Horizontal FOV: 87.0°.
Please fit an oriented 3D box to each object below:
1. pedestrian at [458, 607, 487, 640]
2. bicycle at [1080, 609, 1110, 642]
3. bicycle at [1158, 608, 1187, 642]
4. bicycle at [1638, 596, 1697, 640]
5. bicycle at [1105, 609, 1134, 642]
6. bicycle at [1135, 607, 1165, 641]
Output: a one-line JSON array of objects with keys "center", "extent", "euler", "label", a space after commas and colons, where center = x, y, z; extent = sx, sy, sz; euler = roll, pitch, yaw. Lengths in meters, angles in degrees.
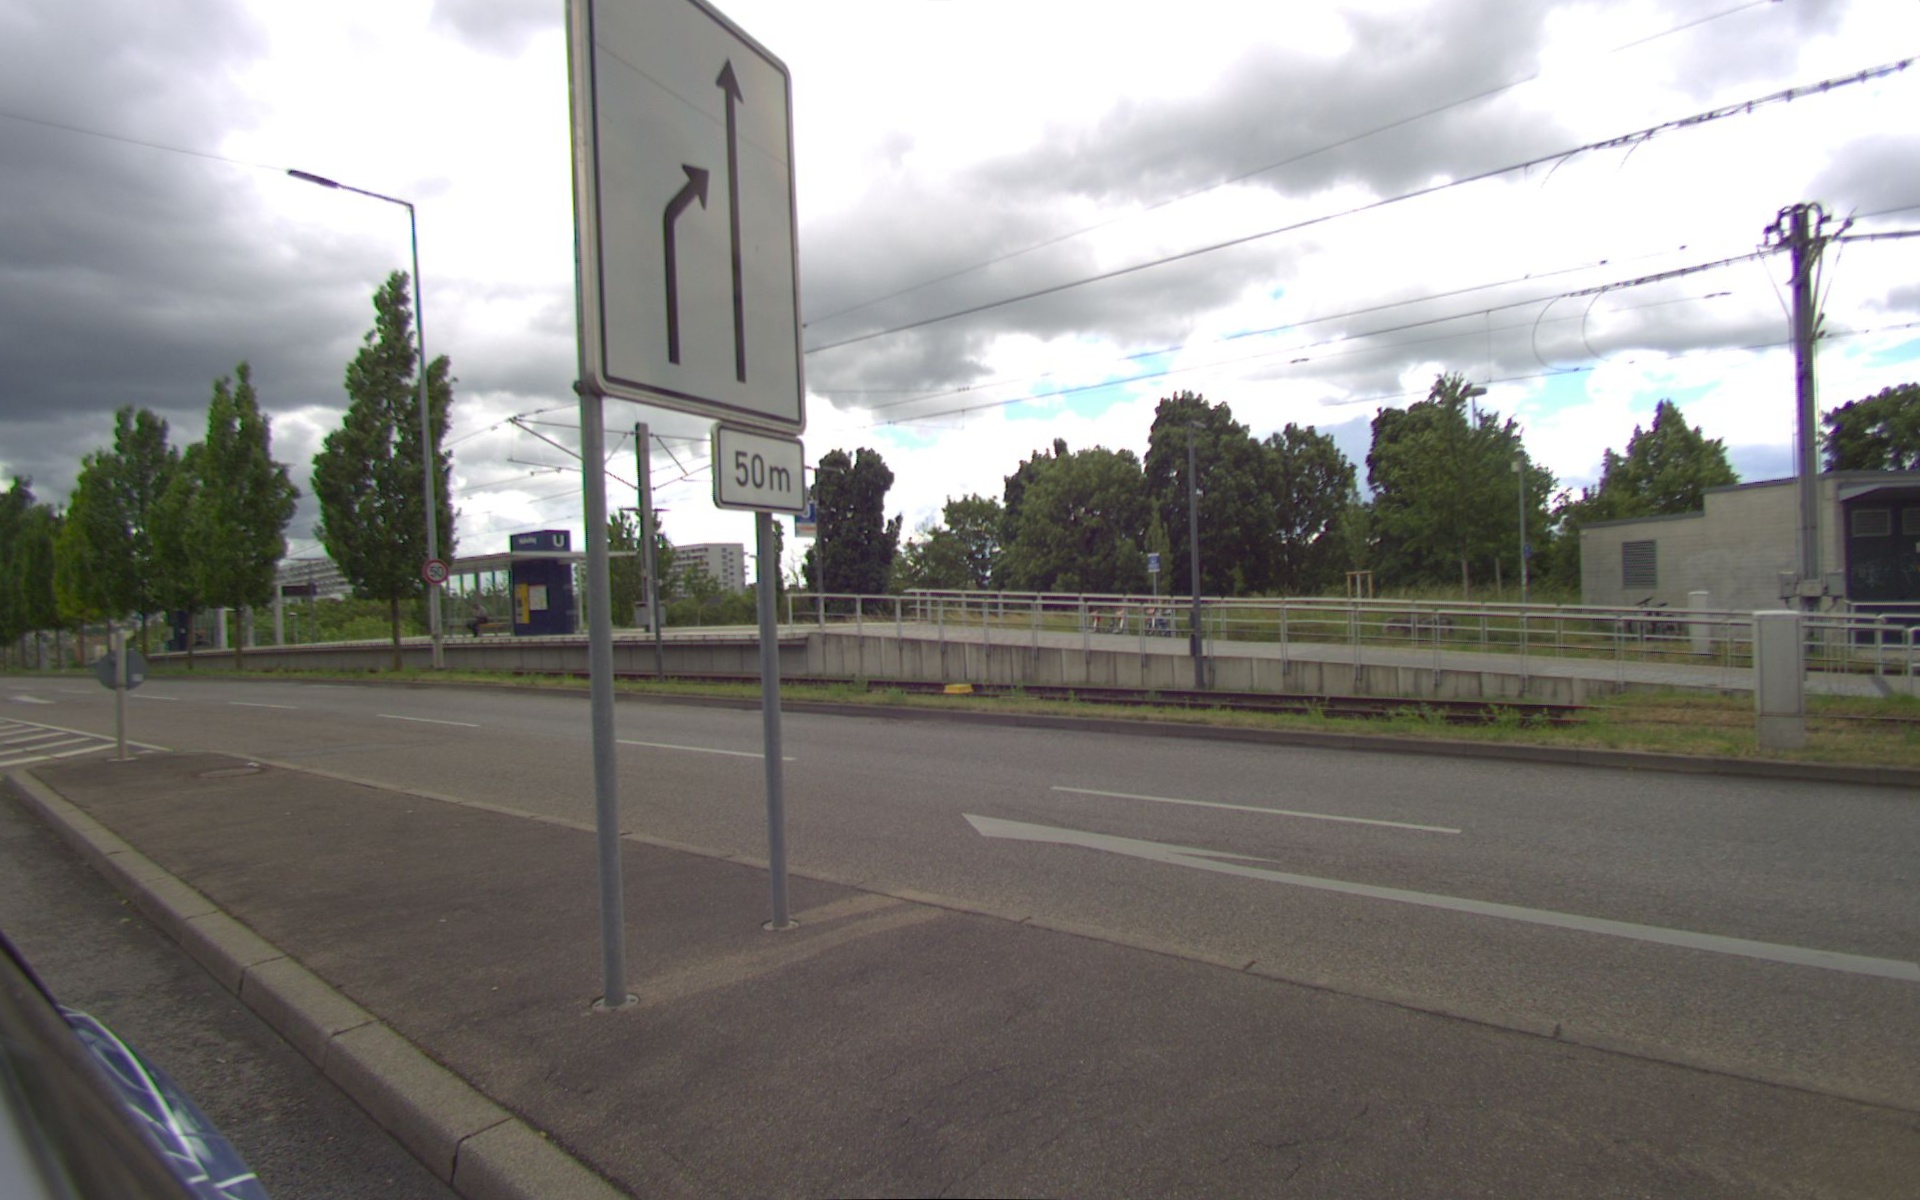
[{"center": [-18.247, 0.877, 37.874], "extent": [0.781, 1.211, 0.656], "euler": [-2, -1, 33], "label": "pedestrian"}, {"center": [4.686, 0.882, 35.161], "extent": [0.490, 1.095, 1.466], "euler": [-2, -1, 30], "label": "bicycle"}, {"center": [7.049, 0.815, 33.468], "extent": [0.490, 1.095, 1.466], "euler": [-2, -1, 30], "label": "bicycle"}, {"center": [18.197, 0.457, 26.059], "extent": [0.486, 1.095, 1.480], "euler": [-1, -1, 3], "label": "bicycle"}, {"center": [5.443, 0.866, 34.459], "extent": [0.490, 1.095, 1.466], "euler": [-2, -1, 30], "label": "bicycle"}, {"center": [6.383, 0.792, 33.948], "extent": [0.490, 1.095, 1.466], "euler": [-2, -1, 30], "label": "bicycle"}]
